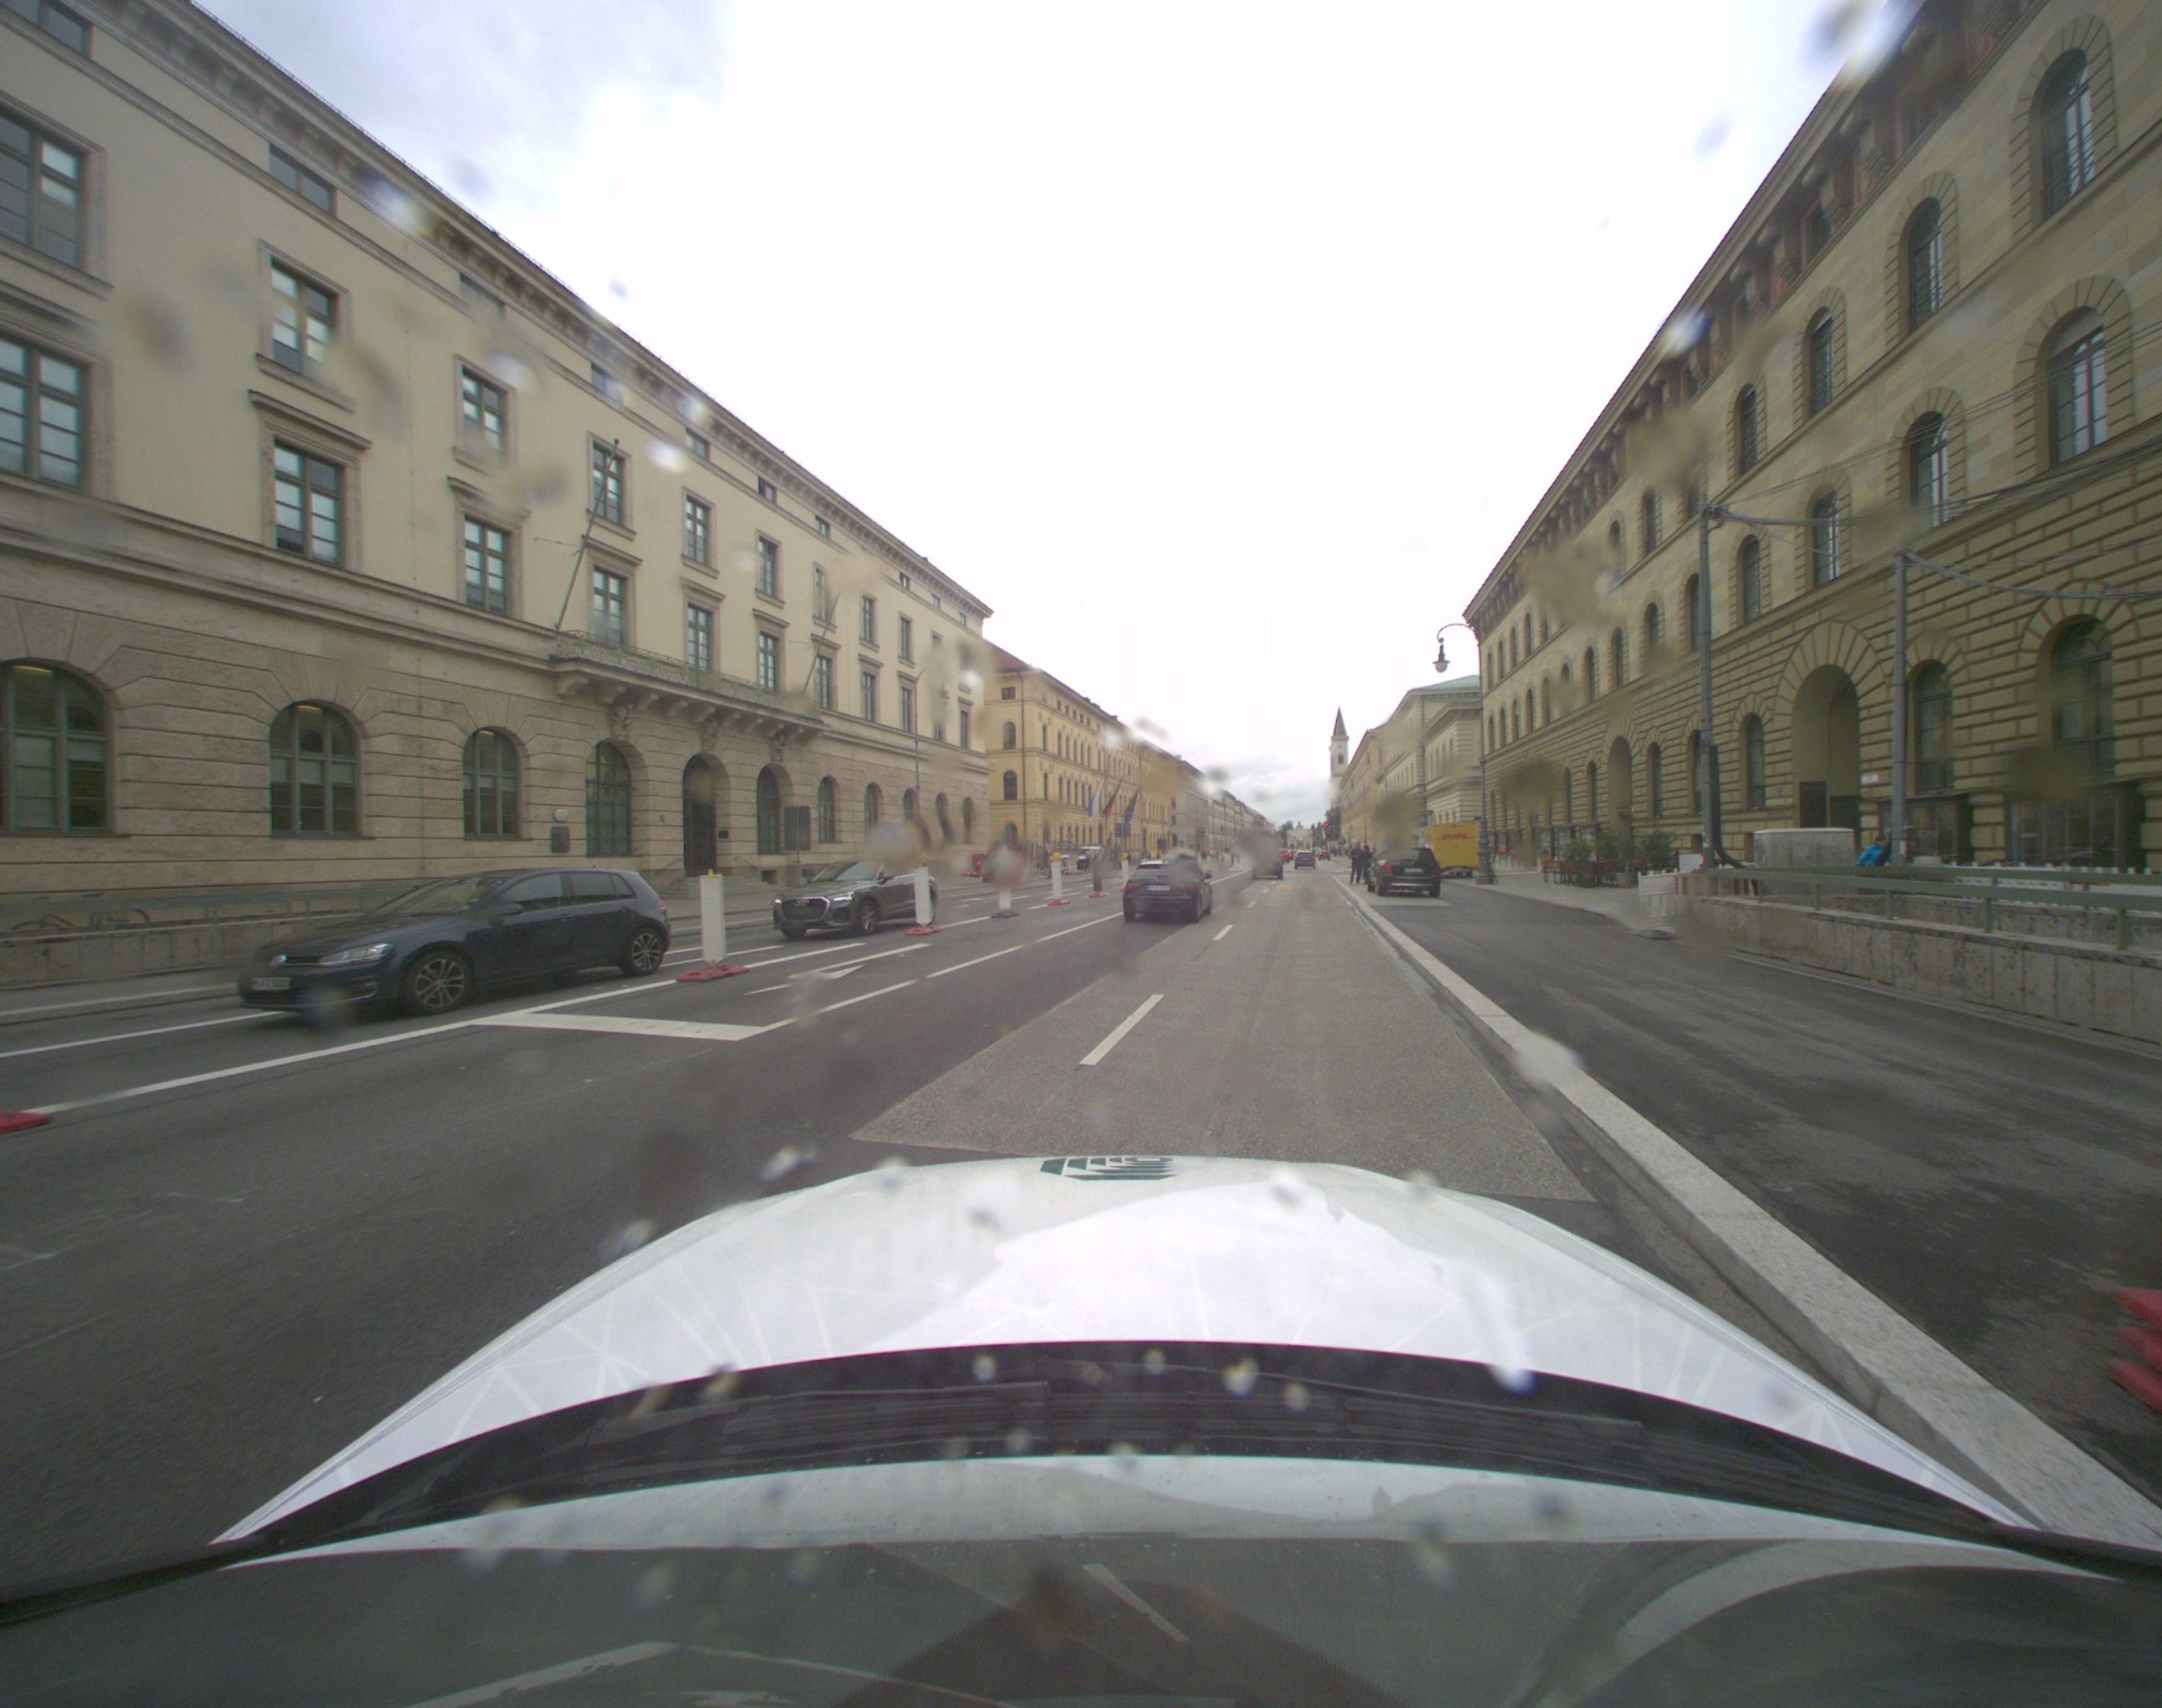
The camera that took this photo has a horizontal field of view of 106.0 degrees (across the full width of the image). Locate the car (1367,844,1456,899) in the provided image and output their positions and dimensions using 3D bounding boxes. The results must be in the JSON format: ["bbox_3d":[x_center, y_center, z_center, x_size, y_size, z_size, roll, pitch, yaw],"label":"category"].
[{"bbox_3d":[10.705,0.517,26.665,2.054,1.661,4.237,0,0,13],"label":"car"}]

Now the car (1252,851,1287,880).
[{"bbox_3d":[11.100,0.653,47.705,1.755,1.617,4.016,-1,-1,16],"label":"car"}]

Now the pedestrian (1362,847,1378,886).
[{"bbox_3d":[12.516,0.545,35.294,0.610,1.702,0.544,-1,-1,18],"label":"pedestrian"}]

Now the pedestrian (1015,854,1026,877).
[{"bbox_3d":[-4.350,0.856,58.547,0.608,1.652,0.619,-1,-1,12],"label":"pedestrian"}]

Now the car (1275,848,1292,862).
[{"bbox_3d":[27.110,0.089,108.828,1.978,1.772,4.017,-1,0,16],"label":"car"}]

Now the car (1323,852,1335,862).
[{"bbox_3d":[40.671,0.454,133.741,1.845,1.578,4.016,-1,-1,16],"label":"car"}]

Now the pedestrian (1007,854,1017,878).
[{"bbox_3d":[-4.936,0.859,58.682,0.549,1.676,0.619,-1,-1,12],"label":"pedestrian"}]

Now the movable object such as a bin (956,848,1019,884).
[{"bbox_3d":[-5.408,0.704,48.137,1.499,2.014,6.000,-1,-1,16],"label":"movable object such as a bin"}]

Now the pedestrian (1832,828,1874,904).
[{"bbox_3d":[17.805,0.282,18.793,0.552,1.712,0.681,-1,-2,33],"label":"pedestrian"}]

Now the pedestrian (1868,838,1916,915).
[{"bbox_3d":[16.867,0.461,16.946,0.494,1.554,0.635,-1,-1,27],"label":"pedestrian"}]

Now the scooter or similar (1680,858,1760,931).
[{"bbox_3d":[11.557,0.729,14.739,1.132,1.250,0.298,-3,-1,2],"label":"scooter or similar"}]

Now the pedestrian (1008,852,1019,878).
[{"bbox_3d":[-5.131,0.838,61.786,0.675,1.931,0.654,-1,-1,12],"label":"pedestrian"}]

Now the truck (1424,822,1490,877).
[{"bbox_3d":[20.119,-0.178,43.821,2.601,2.765,5.834,-1,-1,19],"label":"truck"}]

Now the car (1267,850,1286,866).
[{"bbox_3d":[22.731,0.422,94.548,1.978,1.772,4.017,-1,0,16],"label":"car"}]

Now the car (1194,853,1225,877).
[{"bbox_3d":[9.308,0.809,58.800,1.755,1.617,4.016,-1,-1,16],"label":"car"}]

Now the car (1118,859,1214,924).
[{"bbox_3d":[2.163,0.821,19.711,1.850,1.388,4.014,0,0,13],"label":"car"}]

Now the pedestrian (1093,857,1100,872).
[{"bbox_3d":[1.463,0.970,76.613,0.536,1.406,0.619,-1,-1,12],"label":"pedestrian"}]

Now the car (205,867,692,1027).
[{"bbox_3d":[-6.812,0.885,9.469,1.731,1.388,4.257,-2,-1,15],"label":"car"}]

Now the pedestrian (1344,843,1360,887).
[{"bbox_3d":[11.841,0.479,35.531,0.610,1.875,0.544,-1,-1,19],"label":"pedestrian"}]

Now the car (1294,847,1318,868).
[{"bbox_3d":[19.838,0.300,71.672,1.978,1.772,4.017,-1,0,16],"label":"car"}]

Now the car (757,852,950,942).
[{"bbox_3d":[-4.583,0.799,17.237,1.772,1.567,4.594,-3,-1,15],"label":"car"}]

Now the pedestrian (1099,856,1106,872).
[{"bbox_3d":[2.015,0.943,76.486,0.536,1.411,0.619,-1,-1,12],"label":"pedestrian"}]

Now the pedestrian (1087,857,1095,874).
[{"bbox_3d":[0.890,1.016,72.235,0.549,1.530,0.619,-1,-1,12],"label":"pedestrian"}]

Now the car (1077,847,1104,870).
[{"bbox_3d":[0.960,0.465,81.467,1.725,2.289,4.016,-1,-1,16],"label":"car"}]

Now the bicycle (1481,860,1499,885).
[{"bbox_3d":[17.013,0.772,33.874,0.514,1.022,1.659,-1,-1,22],"label":"bicycle"}]

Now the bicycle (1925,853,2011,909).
[{"bbox_3d":[17.369,0.503,15.981,0.374,1.022,1.658,-1,0,18],"label":"bicycle"}]

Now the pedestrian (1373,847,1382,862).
[{"bbox_3d":[33.607,0.078,92.284,0.791,1.690,0.803,-1,-1,16],"label":"pedestrian"}]
